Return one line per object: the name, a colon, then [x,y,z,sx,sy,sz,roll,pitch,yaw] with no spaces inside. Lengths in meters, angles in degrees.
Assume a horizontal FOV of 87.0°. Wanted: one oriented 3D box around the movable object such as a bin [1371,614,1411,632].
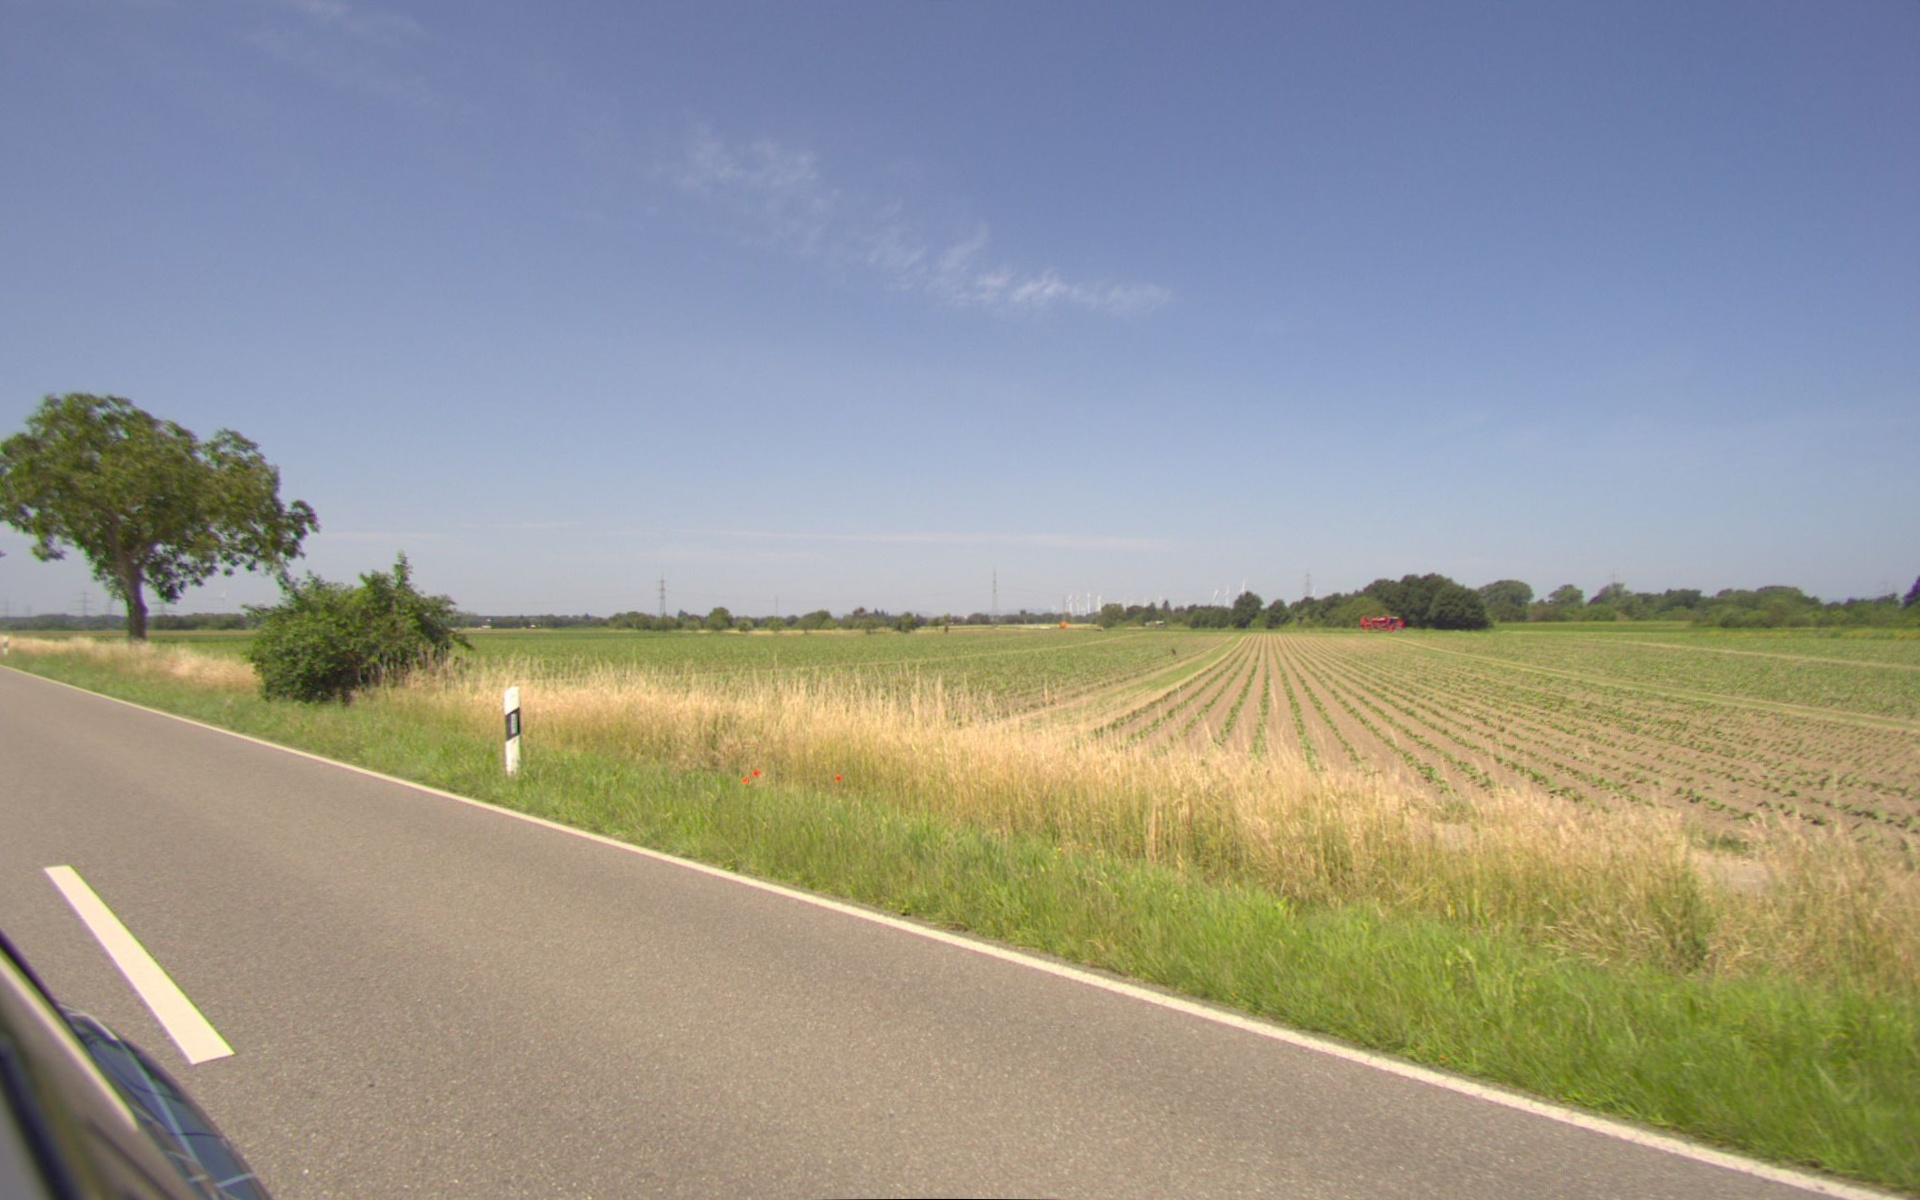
movable object such as a bin: [99.940,5.354,234.753,2.503,3.878,10.009,1,-2,-17]
